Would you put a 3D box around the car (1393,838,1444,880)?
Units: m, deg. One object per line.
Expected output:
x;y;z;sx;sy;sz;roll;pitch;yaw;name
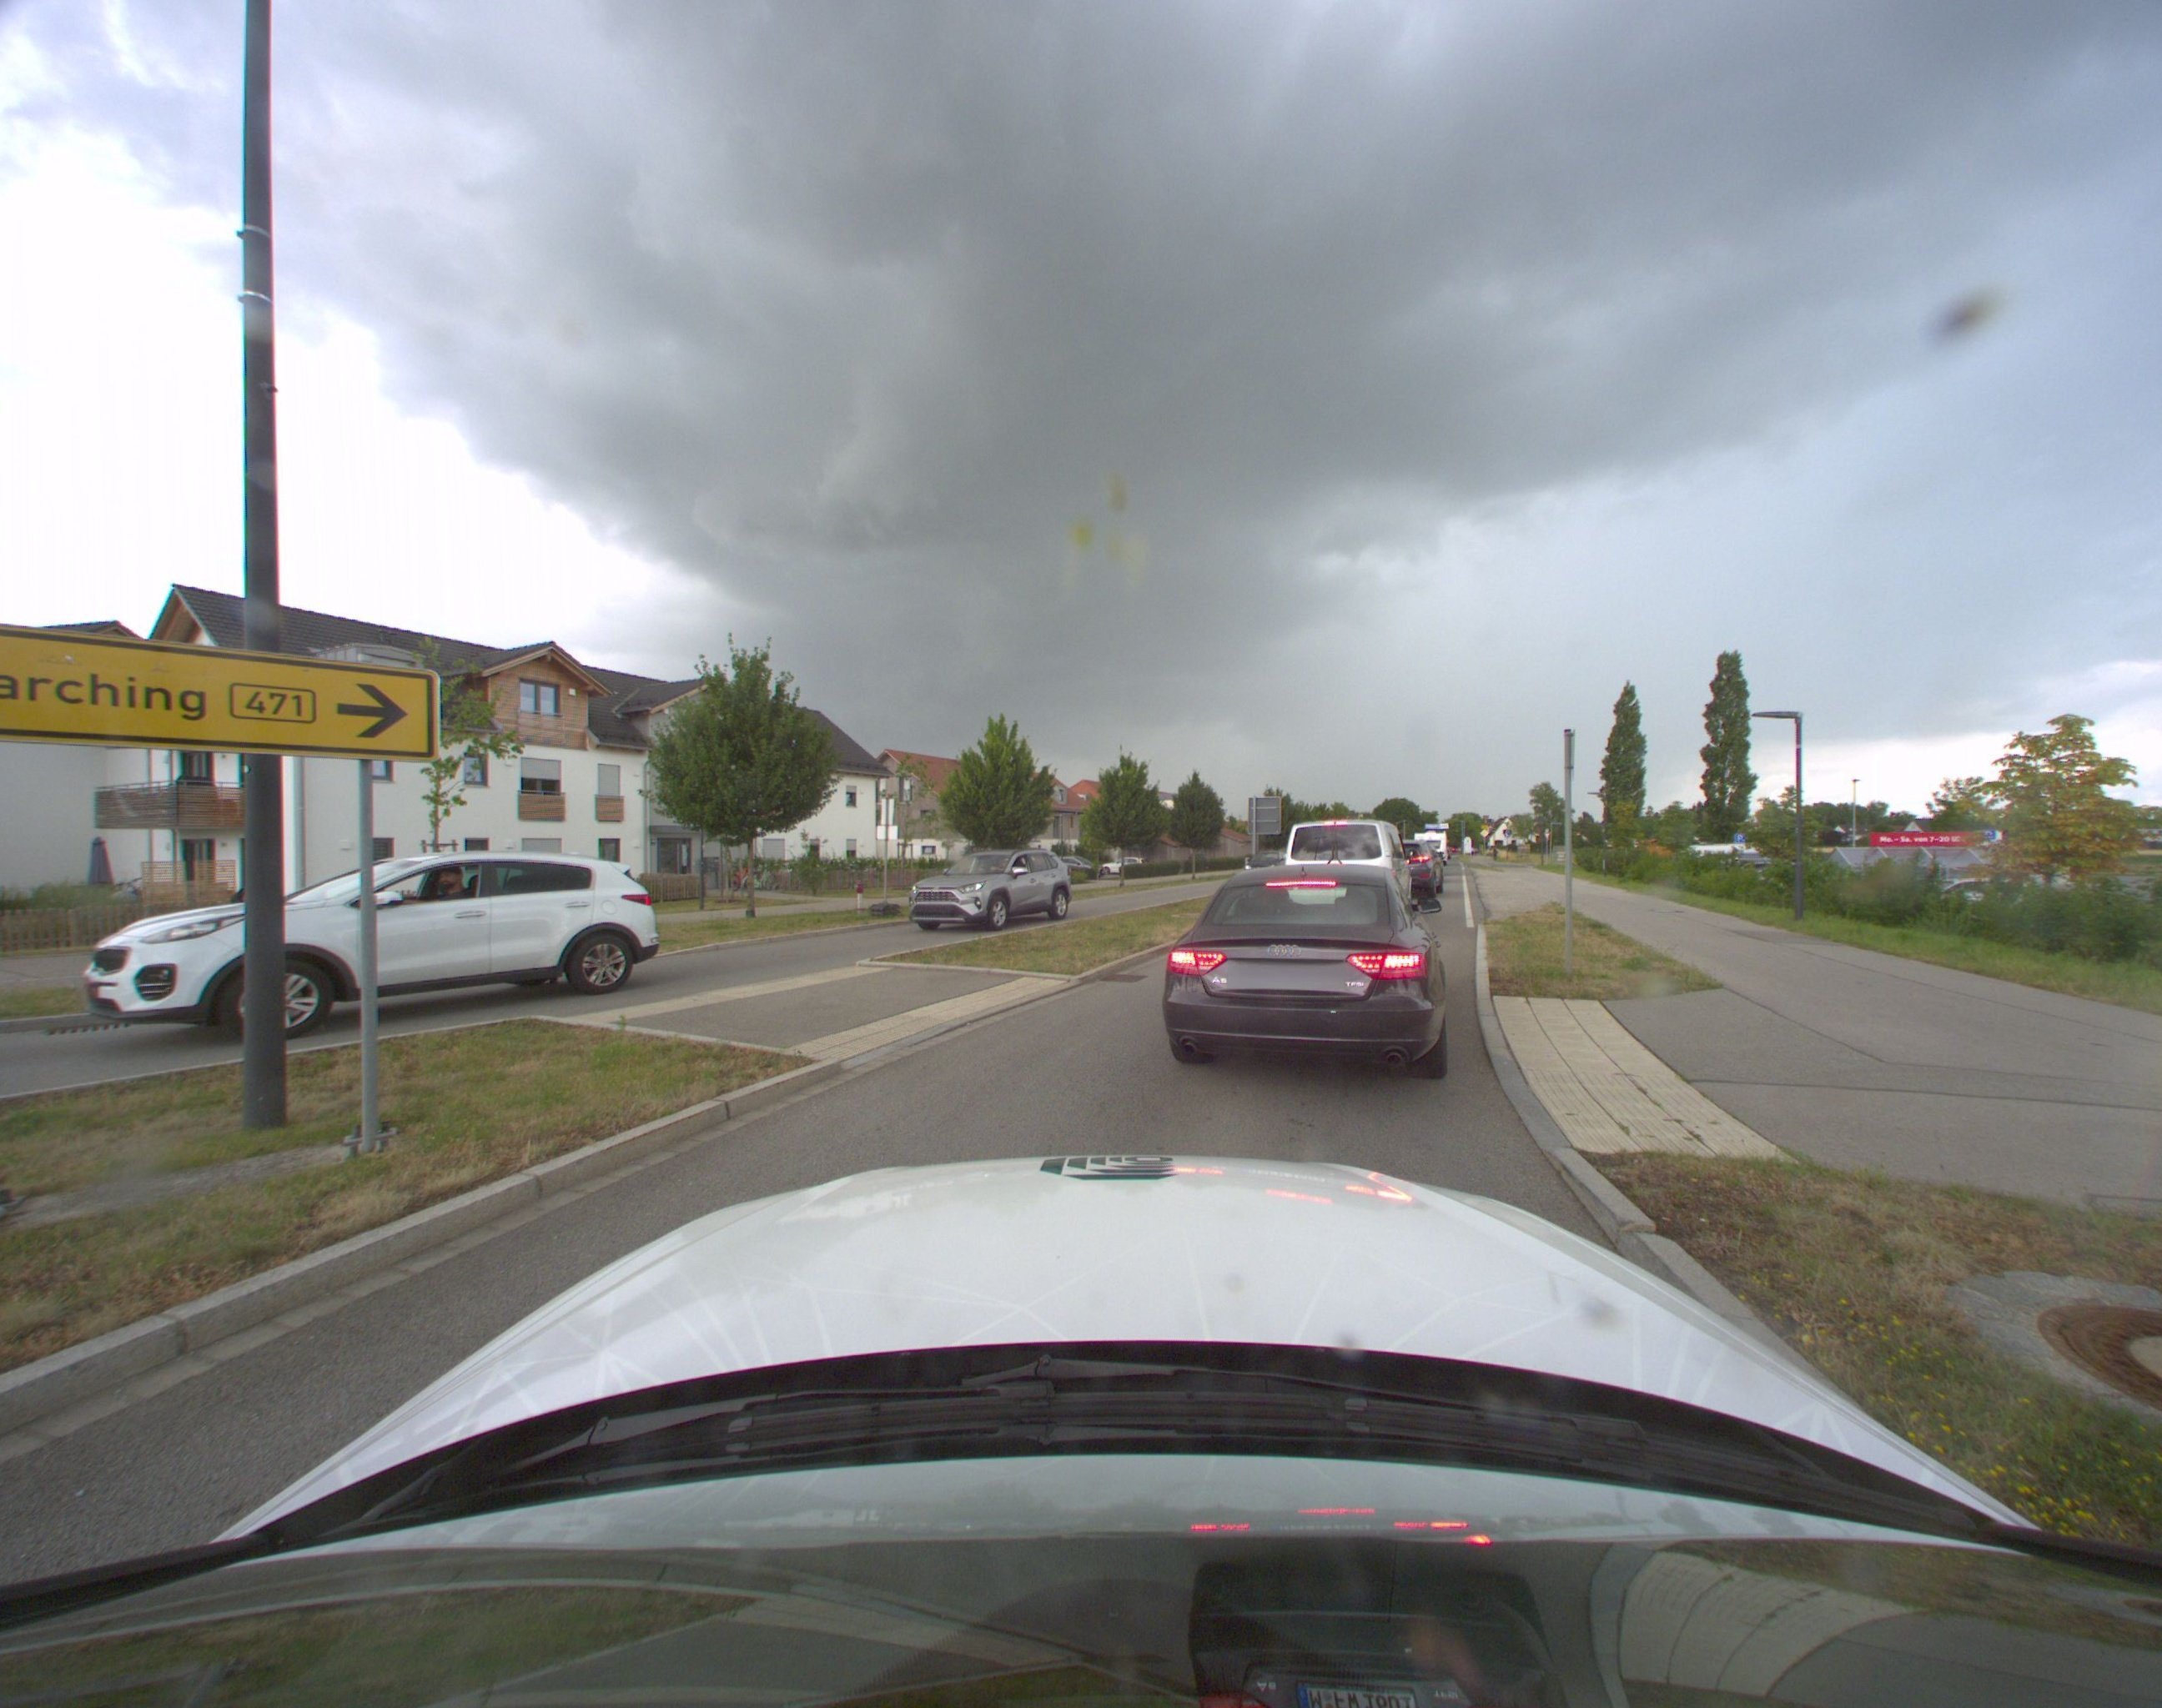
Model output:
13.770;0.192;33.116;1.760;1.618;4.023;-1;0;25;car

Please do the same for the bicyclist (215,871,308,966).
-13.289;1.026;13.217;0.715;1.446;0.875;-2;0;30;bicyclist

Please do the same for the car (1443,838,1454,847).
91.277;-2.761;202.230;1.975;2.211;4.025;0;1;29;car

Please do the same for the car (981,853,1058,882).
-3.876;0.817;51.279;4.488;1.680;2.012;0;1;28;car

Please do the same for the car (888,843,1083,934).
-1.884;0.635;17.774;1.975;1.704;4.662;-1;0;26;car

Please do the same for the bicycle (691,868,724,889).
-16.314;1.052;35.575;0.364;0.843;1.345;3;1;27;bicycle

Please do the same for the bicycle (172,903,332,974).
-13.283;1.324;13.112;0.491;0.946;1.724;-2;0;30;bicycle

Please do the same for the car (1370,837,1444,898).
9.546;0.335;23.705;1.760;1.618;4.023;0;1;25;car

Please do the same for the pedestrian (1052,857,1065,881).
-1.477;0.989;53.045;0.651;1.559;0.587;0;0;26;pedestrian

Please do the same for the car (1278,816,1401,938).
4.884;0.339;15.030;1.851;1.934;4.022;0;1;22;car

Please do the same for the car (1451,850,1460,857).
73.621;-0.079;160.024;1.599;1.409;3.637;0;0;26;car

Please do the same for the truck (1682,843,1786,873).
41.480;0.226;51.879;4.756;1.872;2.010;1;0;21;truck

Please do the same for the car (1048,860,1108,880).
-0.225;1.133;58.690;3.880;1.315;1.853;0;1;23;car

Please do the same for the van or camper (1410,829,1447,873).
27.858;-0.216;65.146;2.601;3.323;6.860;0;0;24;van or camper

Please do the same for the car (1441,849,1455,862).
47.546;0.213;105.533;1.599;1.630;3.637;0;0;26;car

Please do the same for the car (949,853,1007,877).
-7.672;0.787;60.912;1.974;1.772;4.493;0;0;30;car

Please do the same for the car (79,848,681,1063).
-6.842;0.783;8.554;1.692;1.626;4.479;-2;0;33;car

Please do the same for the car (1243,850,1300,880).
9.832;0.507;41.797;1.737;1.416;4.483;0;1;28;car

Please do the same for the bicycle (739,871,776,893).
-13.636;1.184;34.380;0.364;0.843;1.556;3;1;27;bicycle

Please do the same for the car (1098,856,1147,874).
3.437;0.896;67.693;3.697;1.482;1.695;0;1;22;car

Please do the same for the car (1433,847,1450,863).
41.041;0.062;92.621;1.599;1.794;4.023;0;0;26;car

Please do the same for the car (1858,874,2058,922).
29.656;1.456;27.731;4.194;1.440;2.012;0;0;25;car

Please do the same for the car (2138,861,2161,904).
44.868;1.122;31.472;4.515;1.664;2.012;0;0;25;car

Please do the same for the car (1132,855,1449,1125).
1.936;0.737;6.601;1.768;1.391;4.155;-1;0;22;car
